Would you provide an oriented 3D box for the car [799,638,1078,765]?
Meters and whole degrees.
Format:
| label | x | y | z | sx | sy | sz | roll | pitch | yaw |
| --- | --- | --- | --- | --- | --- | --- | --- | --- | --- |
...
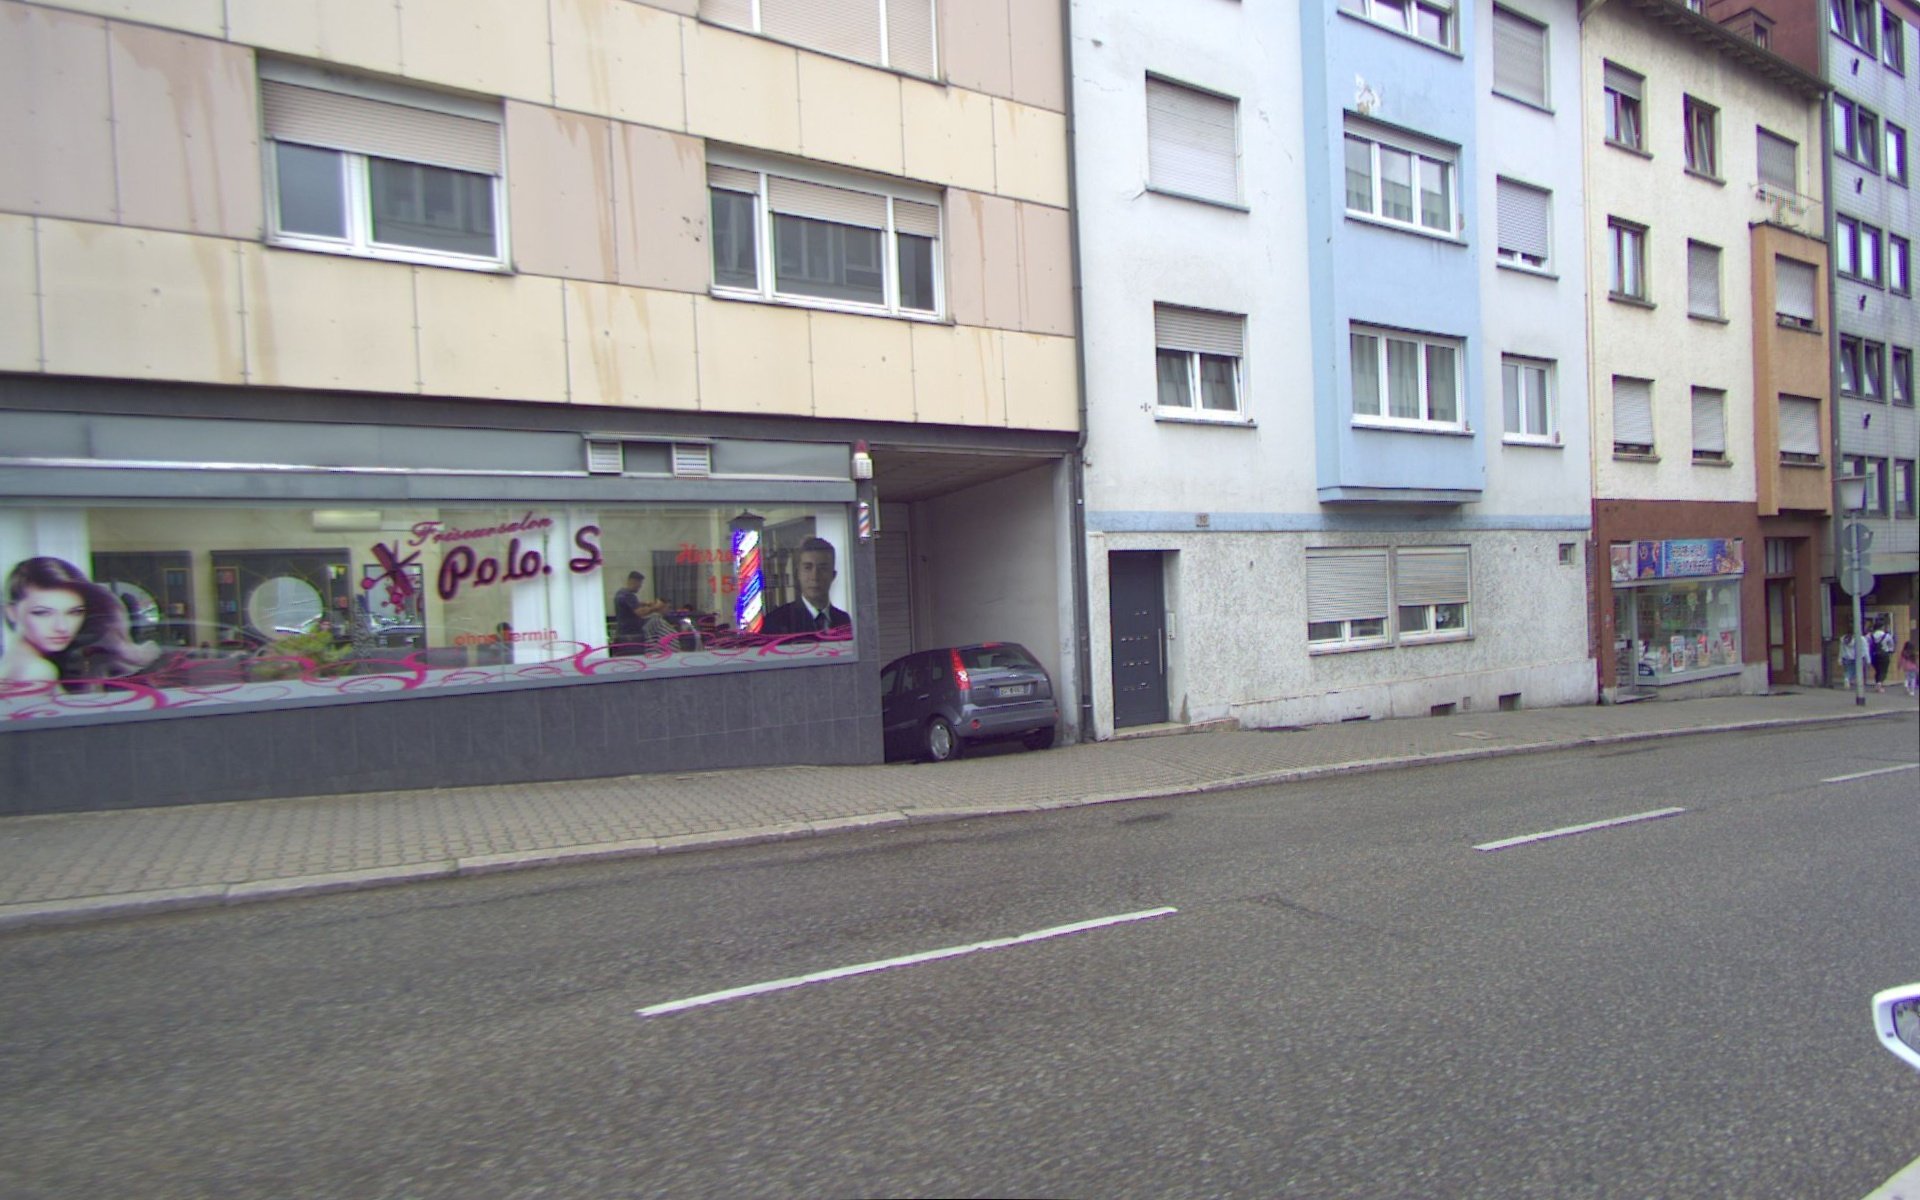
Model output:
| label | x | y | z | sx | sy | sz | roll | pitch | yaw |
| --- | --- | --- | --- | --- | --- | --- | --- | --- | --- |
| car | -0.441 | 1.414 | 13.385 | 1.663 | 1.367 | 3.963 | -2 | -7 | -37 |

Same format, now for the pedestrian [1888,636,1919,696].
| label | x | y | z | sx | sy | sz | roll | pitch | yaw |
| --- | --- | --- | --- | --- | --- | --- | --- | --- | --- |
| pedestrian | 22.060 | 1.521 | 23.377 | 0.717 | 1.341 | 0.529 | 1 | 1 | -39 |

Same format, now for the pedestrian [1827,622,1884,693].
| label | x | y | z | sx | sy | sz | roll | pitch | yaw |
| --- | --- | --- | --- | --- | --- | --- | --- | --- | --- |
| pedestrian | 20.835 | 1.310 | 23.373 | 0.717 | 1.581 | 0.821 | 1 | 1 | -38 |

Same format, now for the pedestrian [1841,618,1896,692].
| label | x | y | z | sx | sy | sz | roll | pitch | yaw |
| --- | --- | --- | --- | --- | --- | --- | --- | --- | --- |
| pedestrian | 21.876 | 1.303 | 24.185 | 0.717 | 1.712 | 0.821 | 1 | 1 | -38 |
